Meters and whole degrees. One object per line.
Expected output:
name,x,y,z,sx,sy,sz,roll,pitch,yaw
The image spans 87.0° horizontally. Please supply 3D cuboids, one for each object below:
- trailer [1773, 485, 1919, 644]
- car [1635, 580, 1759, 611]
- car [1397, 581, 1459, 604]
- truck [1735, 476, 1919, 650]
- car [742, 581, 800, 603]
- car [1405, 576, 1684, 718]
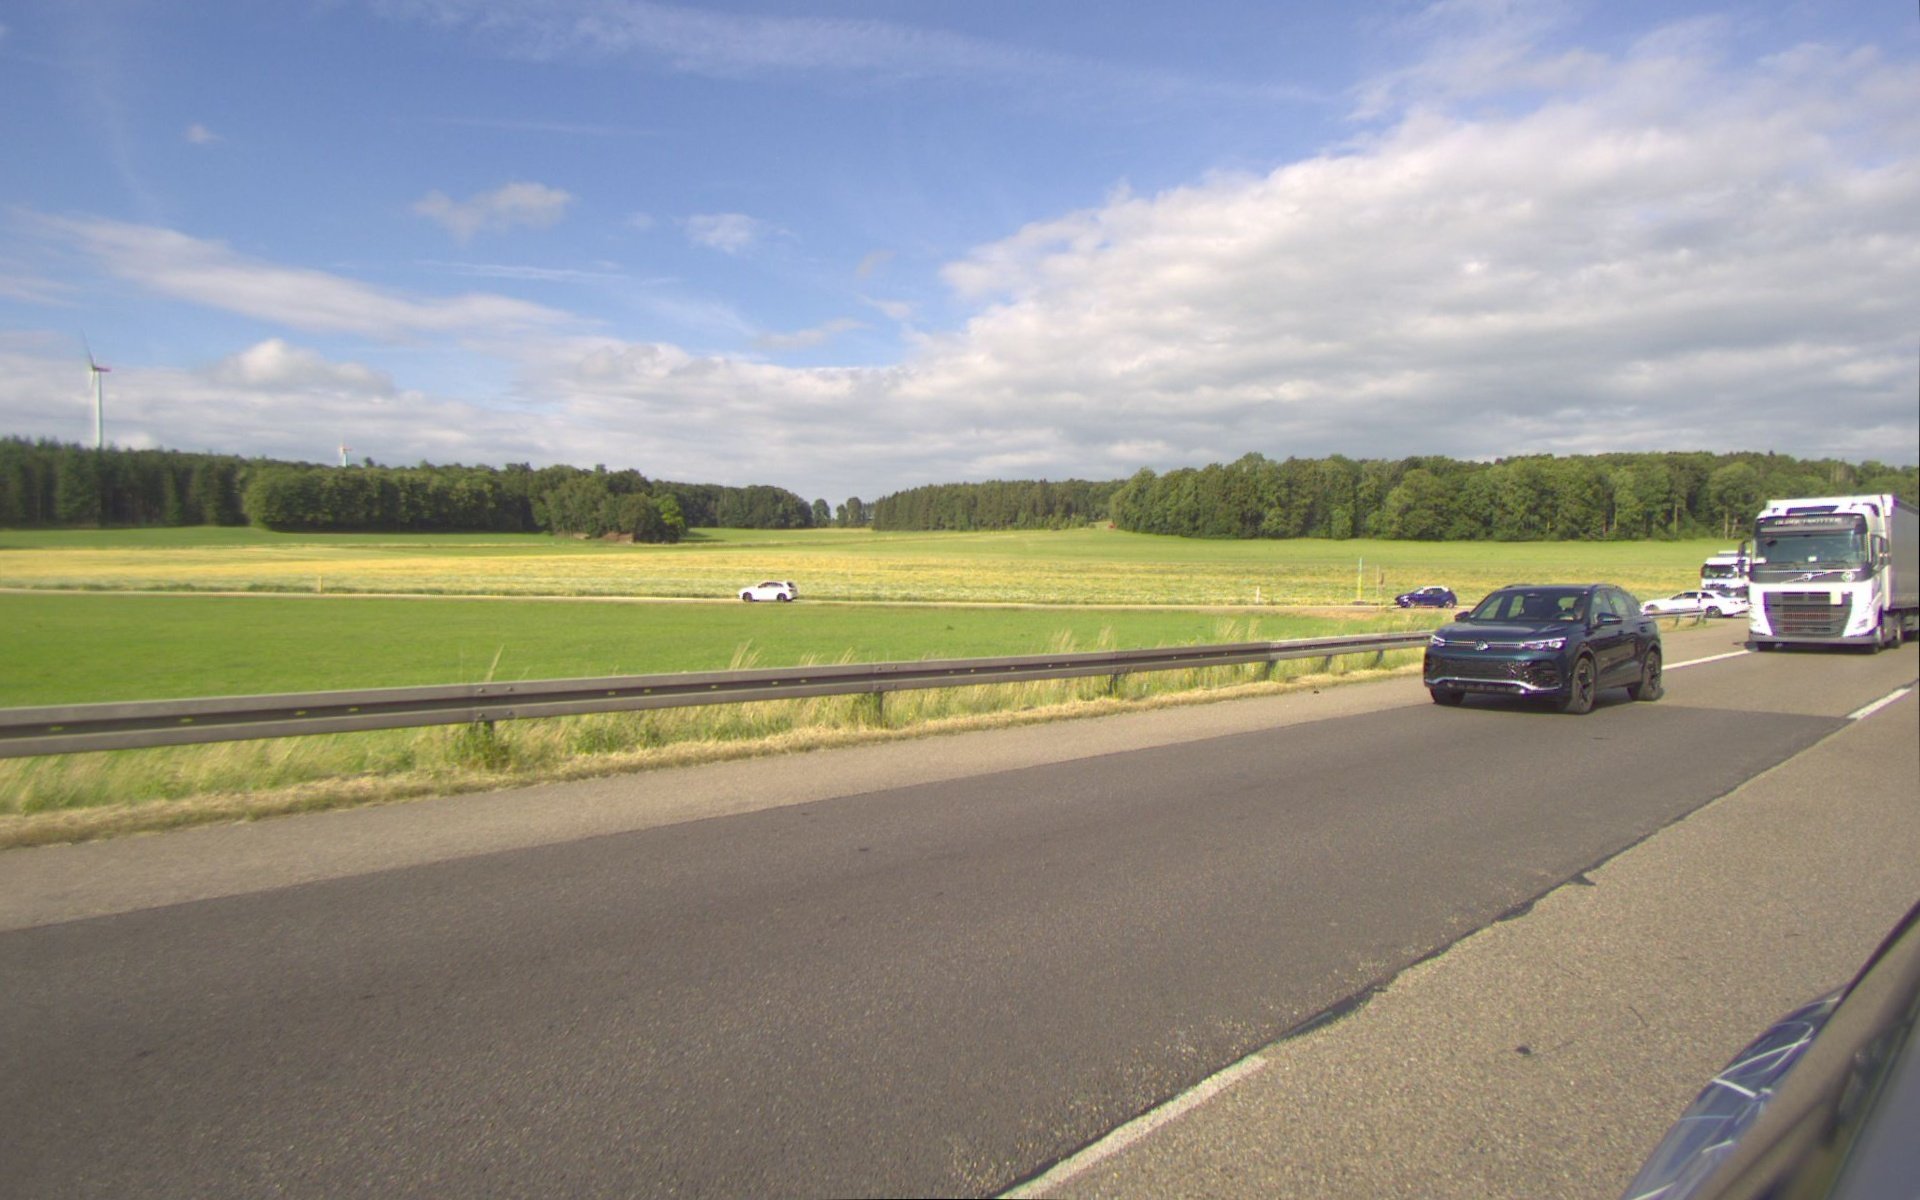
trailer,27.856,-0.993,30.610,11.913,4.032,2.825,-1,0,-40
car,39.989,-0.257,55.057,1.961,1.565,5.083,-1,1,-33
car,32.066,-0.536,69.466,3.505,1.549,1.719,0,0,11
truck,22.971,-0.903,26.565,6.386,4.040,2.841,-1,0,-40
car,-14.405,-0.608,77.323,3.936,1.638,1.994,0,0,11
car,7.970,0.504,13.671,4.046,1.616,1.997,-1,1,-40
